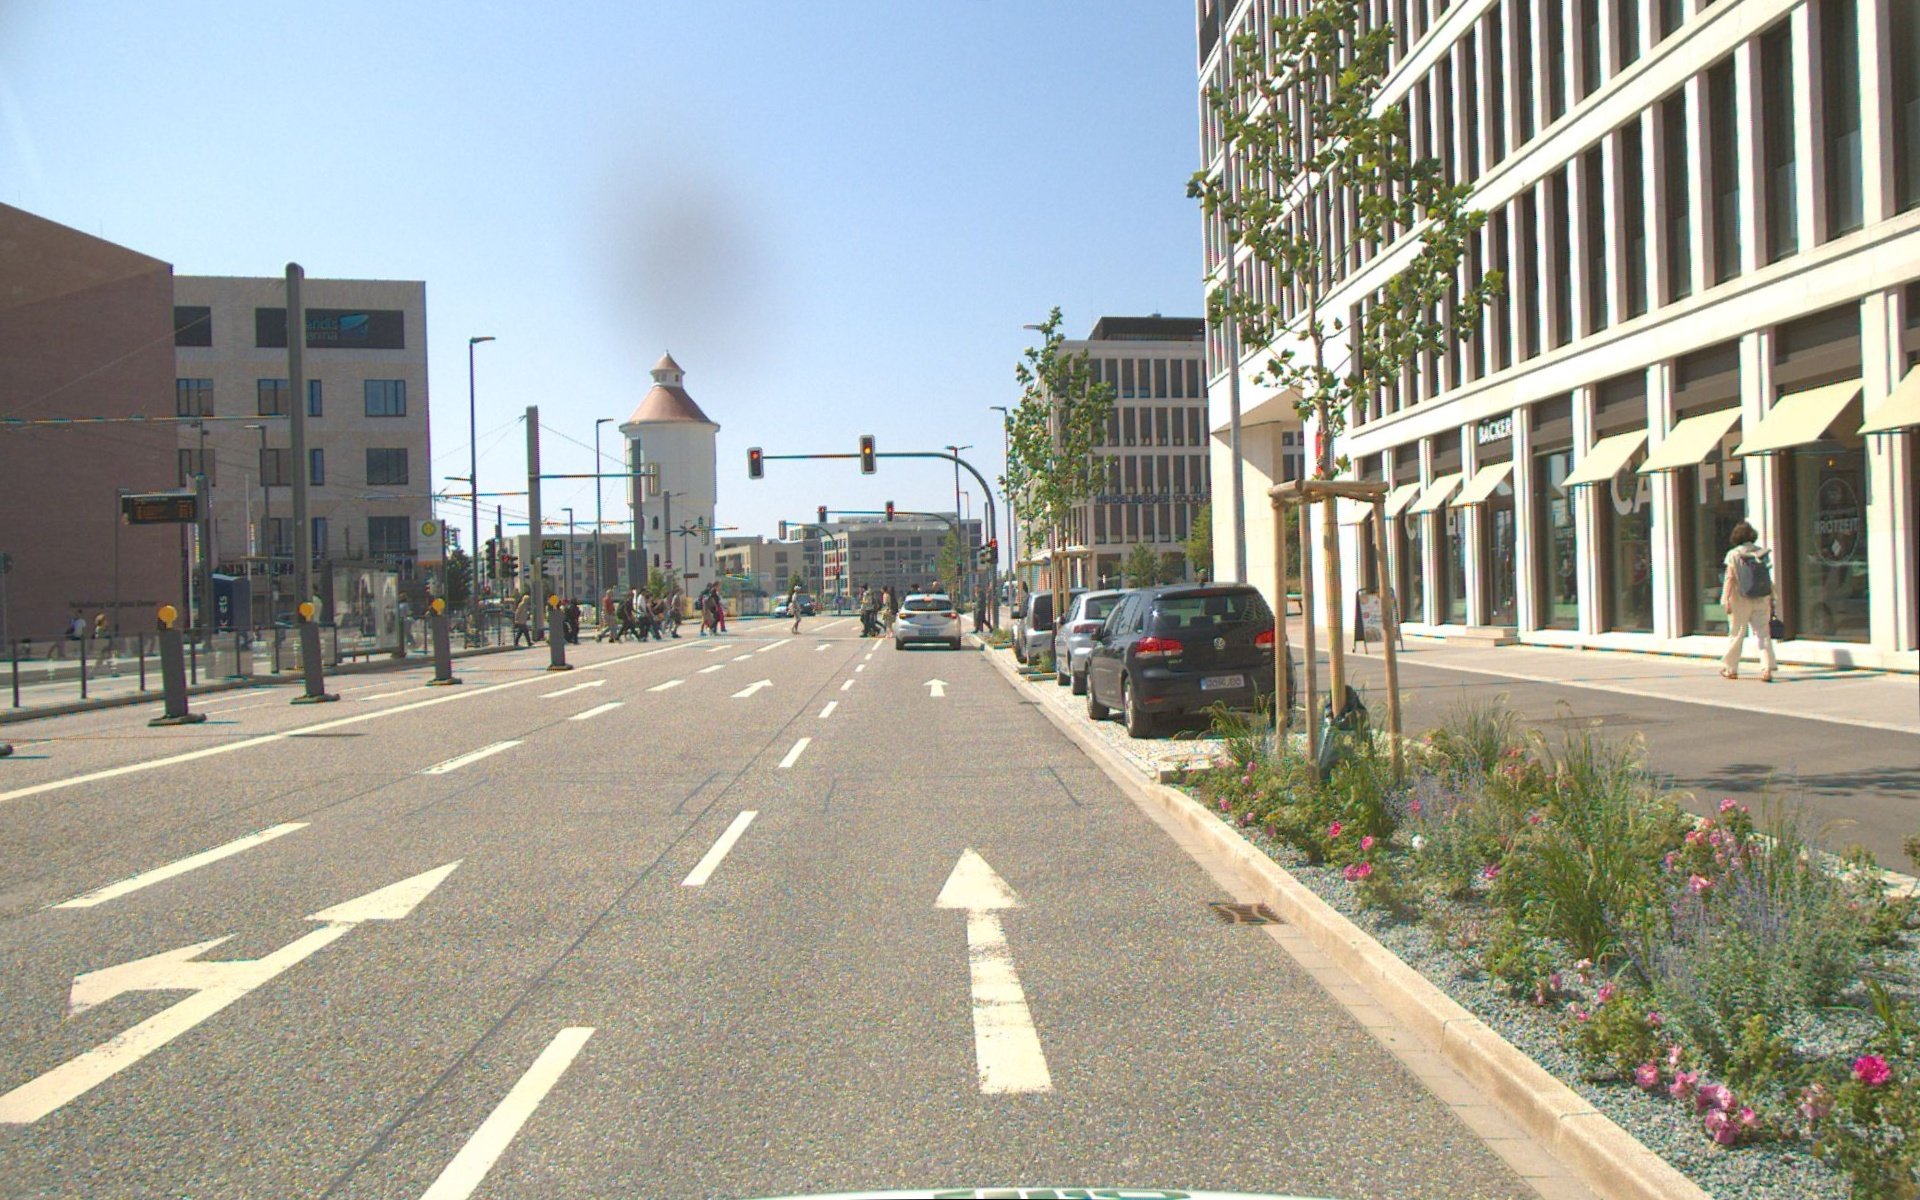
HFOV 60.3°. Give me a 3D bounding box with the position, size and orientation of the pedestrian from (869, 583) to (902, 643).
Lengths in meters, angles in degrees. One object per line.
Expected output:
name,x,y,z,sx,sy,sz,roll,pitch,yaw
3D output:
pedestrian,-2.489,0.433,55.386,0.993,1.923,0.797,-3,0,-4

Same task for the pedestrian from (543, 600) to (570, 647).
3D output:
pedestrian,-14.194,0.831,58.160,0.713,1.603,0.642,-3,0,3

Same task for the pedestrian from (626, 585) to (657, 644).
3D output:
pedestrian,-10.754,0.492,55.889,0.871,1.923,0.691,-3,0,-6

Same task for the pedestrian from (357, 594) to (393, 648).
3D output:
pedestrian,-21.092,0.755,59.621,0.958,1.923,0.827,-2,0,-1

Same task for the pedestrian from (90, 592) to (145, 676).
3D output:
pedestrian,-19.136,0.764,37.564,0.794,1.852,0.825,-1,0,-1

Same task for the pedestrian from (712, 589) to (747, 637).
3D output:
pedestrian,-9.245,0.517,66.414,1.156,1.852,1.069,-3,0,3

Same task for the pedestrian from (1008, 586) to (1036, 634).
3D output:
pedestrian,2.154,0.344,57.488,0.750,1.648,0.692,-3,0,15

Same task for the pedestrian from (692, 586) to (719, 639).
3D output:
pedestrian,-9.375,0.450,60.922,0.824,1.923,0.692,-3,0,-1

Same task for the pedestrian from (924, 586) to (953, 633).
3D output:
pedestrian,-0.781,0.340,60.573,0.872,1.675,0.794,-3,0,-11

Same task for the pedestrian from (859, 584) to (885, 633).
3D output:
pedestrian,-3.056,0.284,57.695,0.777,1.675,0.891,-3,0,1

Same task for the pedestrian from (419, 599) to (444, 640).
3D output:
pedestrian,-22.814,0.844,71.396,0.659,1.710,0.692,-2,0,39

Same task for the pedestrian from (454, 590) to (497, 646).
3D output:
pedestrian,-17.759,0.649,60.622,1.145,1.923,1.060,-3,2,0

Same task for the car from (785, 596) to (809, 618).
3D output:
car,-12.214,0.558,124.418,1.555,1.557,3.691,-2,-1,-3

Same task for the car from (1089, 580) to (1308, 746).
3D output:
car,2.449,0.589,17.899,1.701,1.500,3.980,-3,0,0

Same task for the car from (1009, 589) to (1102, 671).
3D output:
car,1.879,0.562,33.291,1.524,1.497,3.469,-3,0,-2

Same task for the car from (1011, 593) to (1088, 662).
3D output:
car,2.017,0.592,38.063,1.400,1.414,3.999,-3,0,-1

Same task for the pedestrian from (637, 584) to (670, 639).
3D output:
pedestrian,-11.829,0.429,63.809,1.005,2.048,0.949,-3,0,-20

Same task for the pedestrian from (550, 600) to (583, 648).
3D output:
pedestrian,-14.284,0.868,60.123,0.891,1.665,0.814,-3,0,3

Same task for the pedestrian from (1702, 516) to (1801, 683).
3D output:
pedestrian,8.709,-0.009,18.215,0.615,1.772,0.814,-3,0,-1

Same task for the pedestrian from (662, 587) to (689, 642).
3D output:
pedestrian,-10.202,0.507,59.278,0.750,1.923,0.692,-3,0,-1

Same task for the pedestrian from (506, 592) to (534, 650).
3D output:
pedestrian,-14.874,0.698,55.942,0.623,1.923,0.796,-3,0,0

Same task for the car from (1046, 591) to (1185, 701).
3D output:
car,2.292,0.631,25.218,1.573,1.411,3.814,-5,1,-1

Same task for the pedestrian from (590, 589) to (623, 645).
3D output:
pedestrian,-12.467,0.598,58.410,0.869,1.923,0.797,-3,0,3

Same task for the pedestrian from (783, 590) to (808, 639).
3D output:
pedestrian,-6.072,0.523,61.032,0.750,1.764,0.692,-3,0,-1

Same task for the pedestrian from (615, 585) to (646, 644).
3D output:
pedestrian,-11.010,0.468,55.249,0.871,1.923,0.691,-3,0,-6

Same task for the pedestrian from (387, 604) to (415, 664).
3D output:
pedestrian,-15.563,0.945,46.075,0.494,1.650,0.650,-2,0,-2

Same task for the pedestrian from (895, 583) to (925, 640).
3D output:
pedestrian,-1.734,0.394,57.067,0.871,1.923,0.795,-3,0,-6

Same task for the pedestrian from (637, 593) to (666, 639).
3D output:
pedestrian,-11.702,0.601,62.739,0.880,1.703,1.007,-3,0,-20

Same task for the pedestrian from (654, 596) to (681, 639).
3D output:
pedestrian,-11.737,0.691,66.389,0.869,1.675,0.797,-3,0,3

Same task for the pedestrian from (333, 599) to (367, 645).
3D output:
pedestrian,-26.480,0.950,71.819,0.869,1.923,0.984,-3,0,19

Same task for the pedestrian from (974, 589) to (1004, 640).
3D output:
pedestrian,0.977,0.491,56.472,0.871,1.663,0.691,-3,0,-6

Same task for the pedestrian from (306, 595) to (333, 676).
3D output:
pedestrian,-14.889,0.817,38.449,0.542,1.852,0.596,-1,0,-22

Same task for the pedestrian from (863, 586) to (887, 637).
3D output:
pedestrian,-3.010,0.386,58.578,0.750,1.764,0.692,-3,0,-1

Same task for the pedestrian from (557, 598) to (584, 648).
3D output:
pedestrian,-13.360,0.783,56.678,0.620,1.646,0.768,-3,0,4

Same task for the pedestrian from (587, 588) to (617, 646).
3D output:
pedestrian,-12.312,0.577,56.886,0.871,1.923,0.691,-3,0,-6

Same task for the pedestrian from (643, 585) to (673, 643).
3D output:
pedestrian,-10.341,0.478,56.719,0.871,1.923,0.691,-3,0,-6

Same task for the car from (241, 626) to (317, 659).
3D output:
car,-40.441,2.507,98.302,3.874,1.847,1.792,-2,-1,-14

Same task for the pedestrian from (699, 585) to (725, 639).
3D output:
pedestrian,-8.993,0.429,60.004,0.750,1.923,0.692,-3,0,-1

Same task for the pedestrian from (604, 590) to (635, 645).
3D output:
pedestrian,-12.258,0.609,59.608,0.870,1.923,0.796,-3,0,-1

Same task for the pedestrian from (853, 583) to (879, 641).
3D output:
pedestrian,-3.212,0.401,56.703,0.715,1.923,0.821,-3,0,4

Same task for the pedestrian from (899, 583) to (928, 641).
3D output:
pedestrian,-1.585,0.404,56.213,0.871,1.923,0.795,-3,0,-6

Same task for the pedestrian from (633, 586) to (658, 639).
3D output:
pedestrian,-11.642,0.454,61.179,0.719,1.923,0.714,-1,0,3

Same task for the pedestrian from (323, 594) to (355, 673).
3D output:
pedestrian,-14.909,0.803,39.712,0.654,1.852,0.718,-1,0,-24

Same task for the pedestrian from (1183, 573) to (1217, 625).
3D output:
pedestrian,8.087,-0.033,55.769,0.970,1.684,0.692,-3,0,0

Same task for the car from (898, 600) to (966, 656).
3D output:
car,-0.717,0.754,45.110,1.735,1.419,3.531,-1,-1,0

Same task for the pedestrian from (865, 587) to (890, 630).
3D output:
pedestrian,-3.288,0.331,65.833,0.869,1.675,0.797,-3,0,3

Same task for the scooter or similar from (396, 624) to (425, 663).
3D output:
scooter or similar,-15.560,1.226,46.858,0.494,1.077,0.833,-2,0,-1

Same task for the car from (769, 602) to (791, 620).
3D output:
car,-15.737,0.959,144.380,1.554,1.557,3.257,-2,-1,-1
